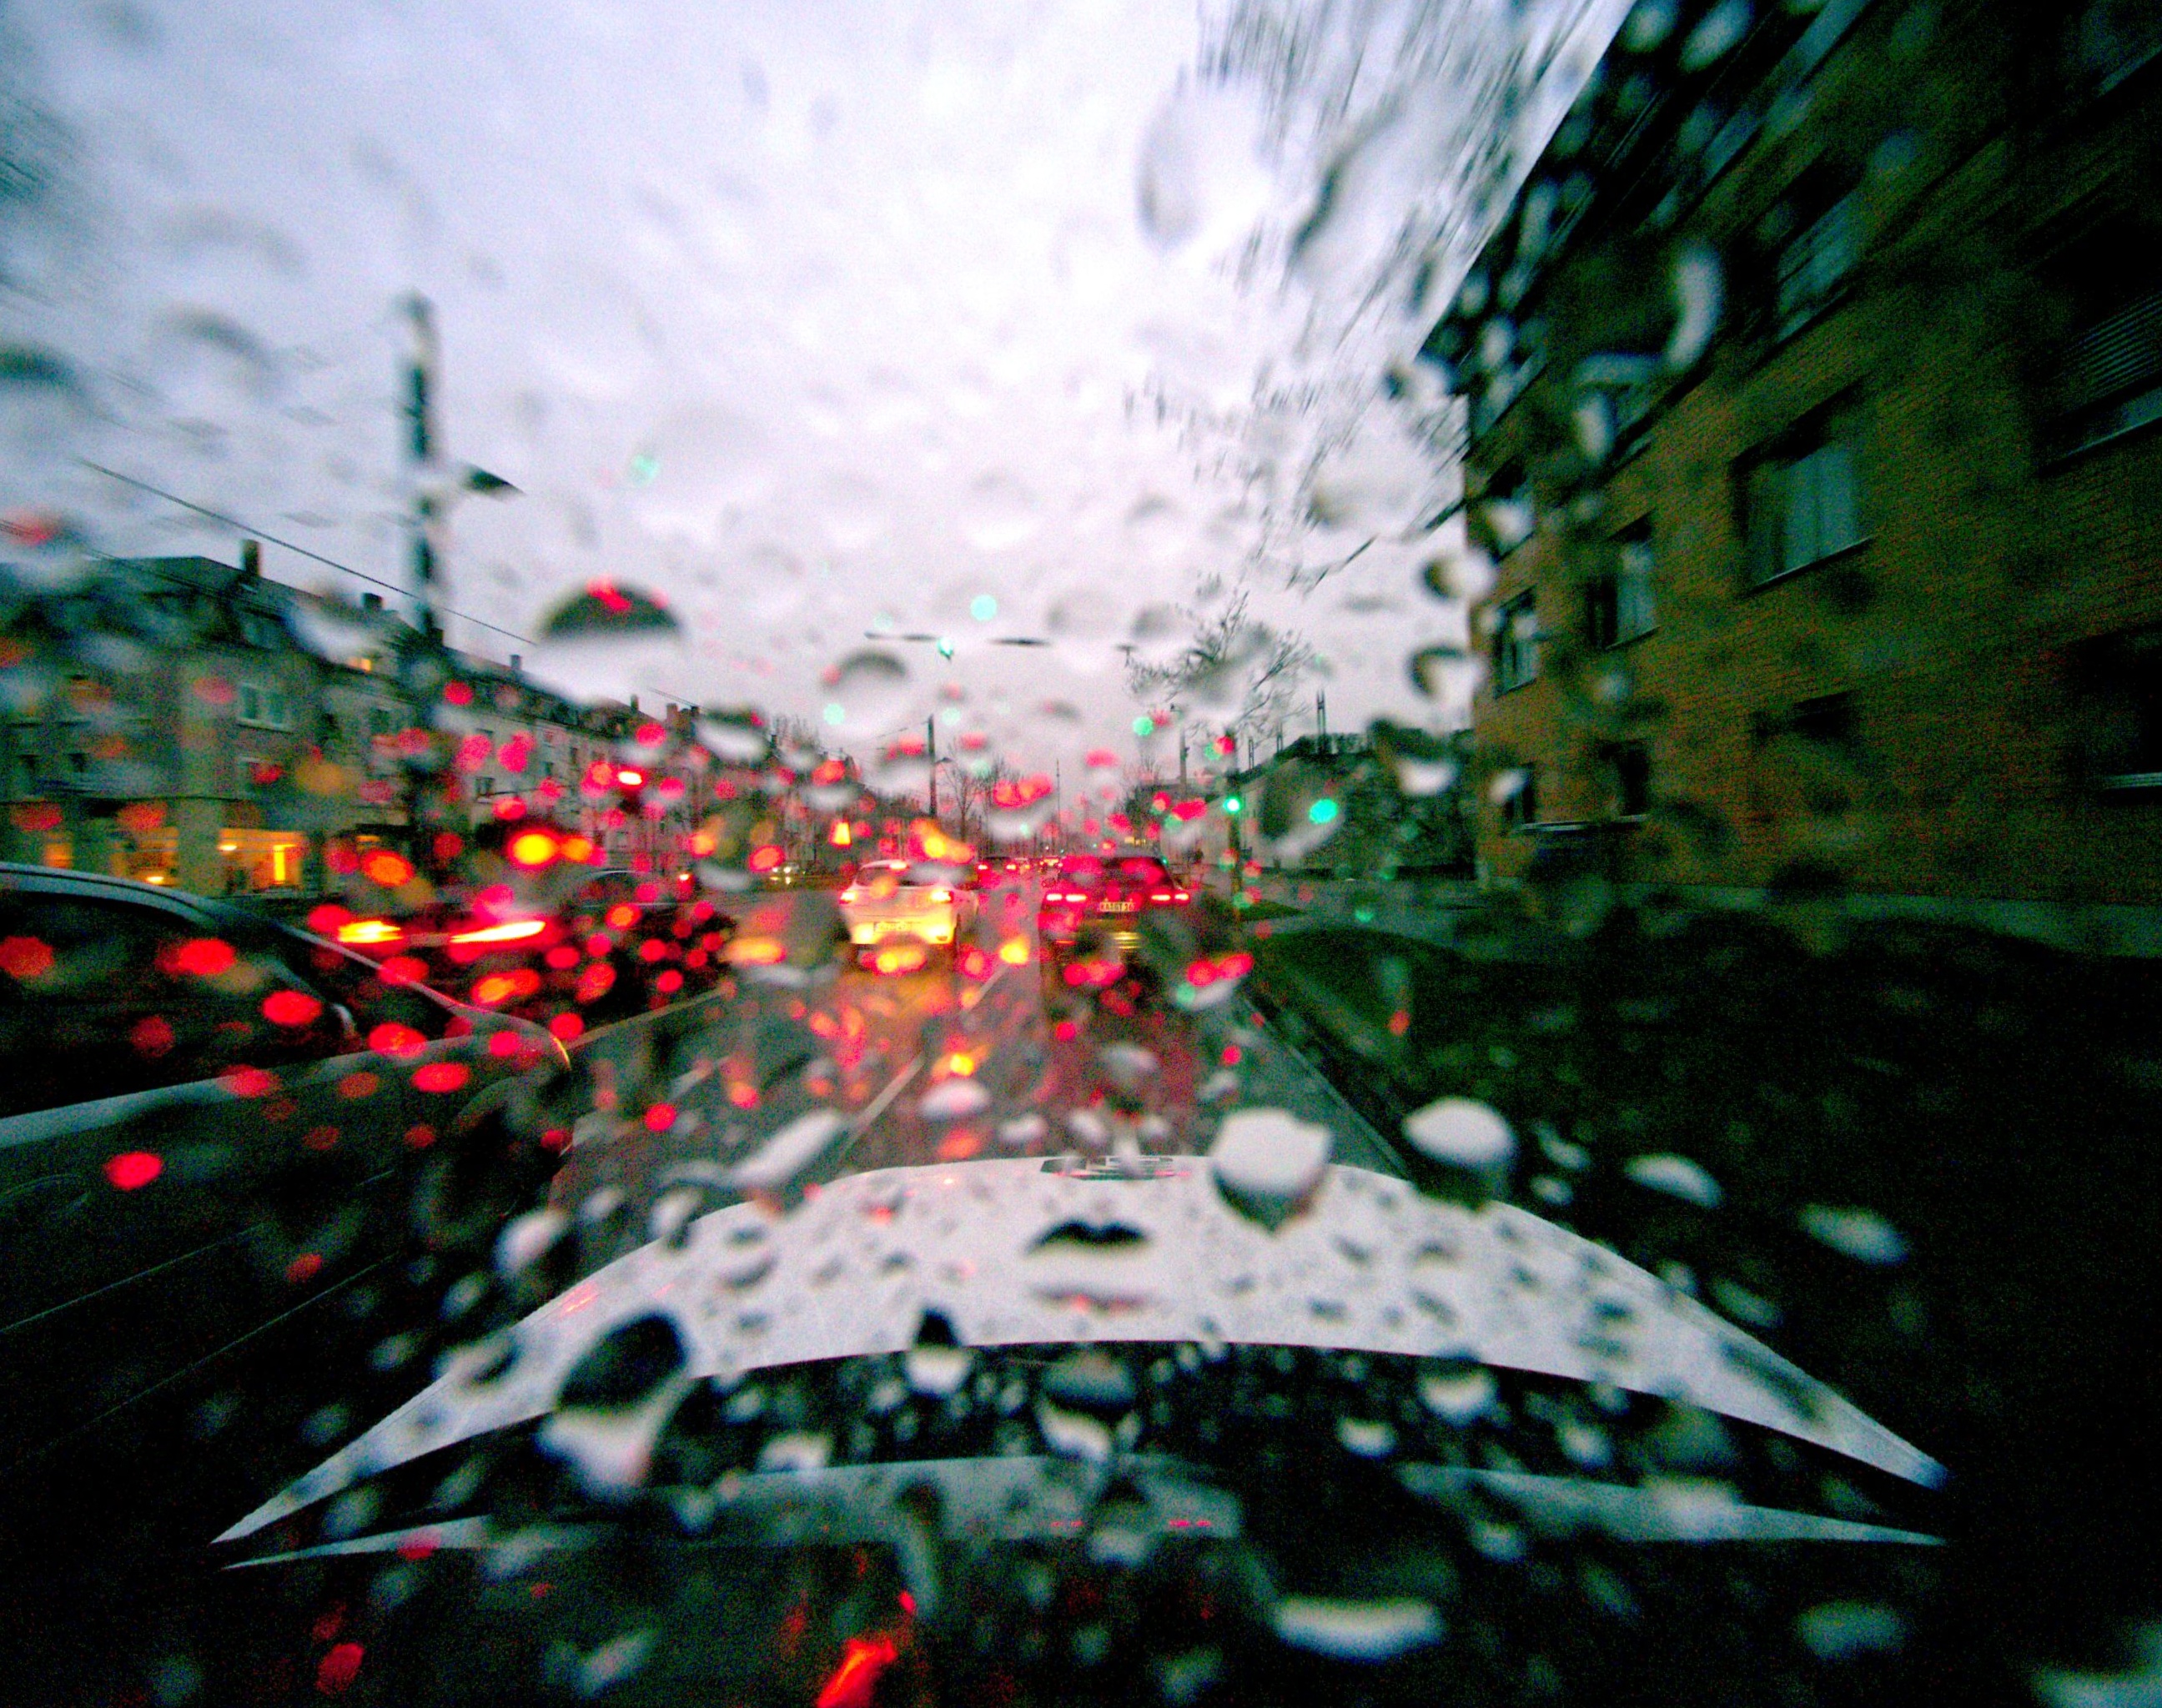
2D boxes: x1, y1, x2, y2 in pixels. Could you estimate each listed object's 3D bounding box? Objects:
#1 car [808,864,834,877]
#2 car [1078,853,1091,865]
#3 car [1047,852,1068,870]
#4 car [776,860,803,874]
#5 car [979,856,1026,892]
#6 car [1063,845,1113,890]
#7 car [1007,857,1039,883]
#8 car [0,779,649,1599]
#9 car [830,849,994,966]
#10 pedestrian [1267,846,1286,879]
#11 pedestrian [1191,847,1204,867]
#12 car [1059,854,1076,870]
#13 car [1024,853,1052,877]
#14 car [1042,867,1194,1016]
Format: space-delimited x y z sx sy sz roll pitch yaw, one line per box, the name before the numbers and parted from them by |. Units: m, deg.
car | -29.408 1.853 92.219 1.770 1.354 3.557 -2 0 1
car | 0.620 0.920 140.459 1.985 2.013 4.003 -2 0 3
car | -2.598 0.788 91.219 1.985 2.014 4.003 0 -1 3
car | -33.803 1.496 94.482 1.770 1.500 3.557 -2 0 1
car | -3.649 0.899 38.399 1.665 1.600 4.055 -1 0 2
car | 0.367 0.557 35.187 1.986 1.744 4.002 -2 0 2
car | -3.816 1.031 54.292 1.665 1.600 4.055 -1 0 2
car | -3.009 0.665 1.821 1.802 1.600 4.055 -1 0 2
car | -2.564 0.755 13.319 1.665 1.600 4.055 -1 0 2
pedestrian | 9.739 0.410 40.563 0.619 1.610 1.066 -2 0 -2
pedestrian | 9.732 0.281 67.951 0.935 1.618 0.694 -2 0 -2
car | -1.773 1.107 110.861 1.985 2.014 4.003 0 -1 3
car | -3.691 0.999 70.966 1.985 2.014 4.003 0 -1 3
car | 0.490 1.008 11.084 1.665 1.600 4.055 -1 0 2
